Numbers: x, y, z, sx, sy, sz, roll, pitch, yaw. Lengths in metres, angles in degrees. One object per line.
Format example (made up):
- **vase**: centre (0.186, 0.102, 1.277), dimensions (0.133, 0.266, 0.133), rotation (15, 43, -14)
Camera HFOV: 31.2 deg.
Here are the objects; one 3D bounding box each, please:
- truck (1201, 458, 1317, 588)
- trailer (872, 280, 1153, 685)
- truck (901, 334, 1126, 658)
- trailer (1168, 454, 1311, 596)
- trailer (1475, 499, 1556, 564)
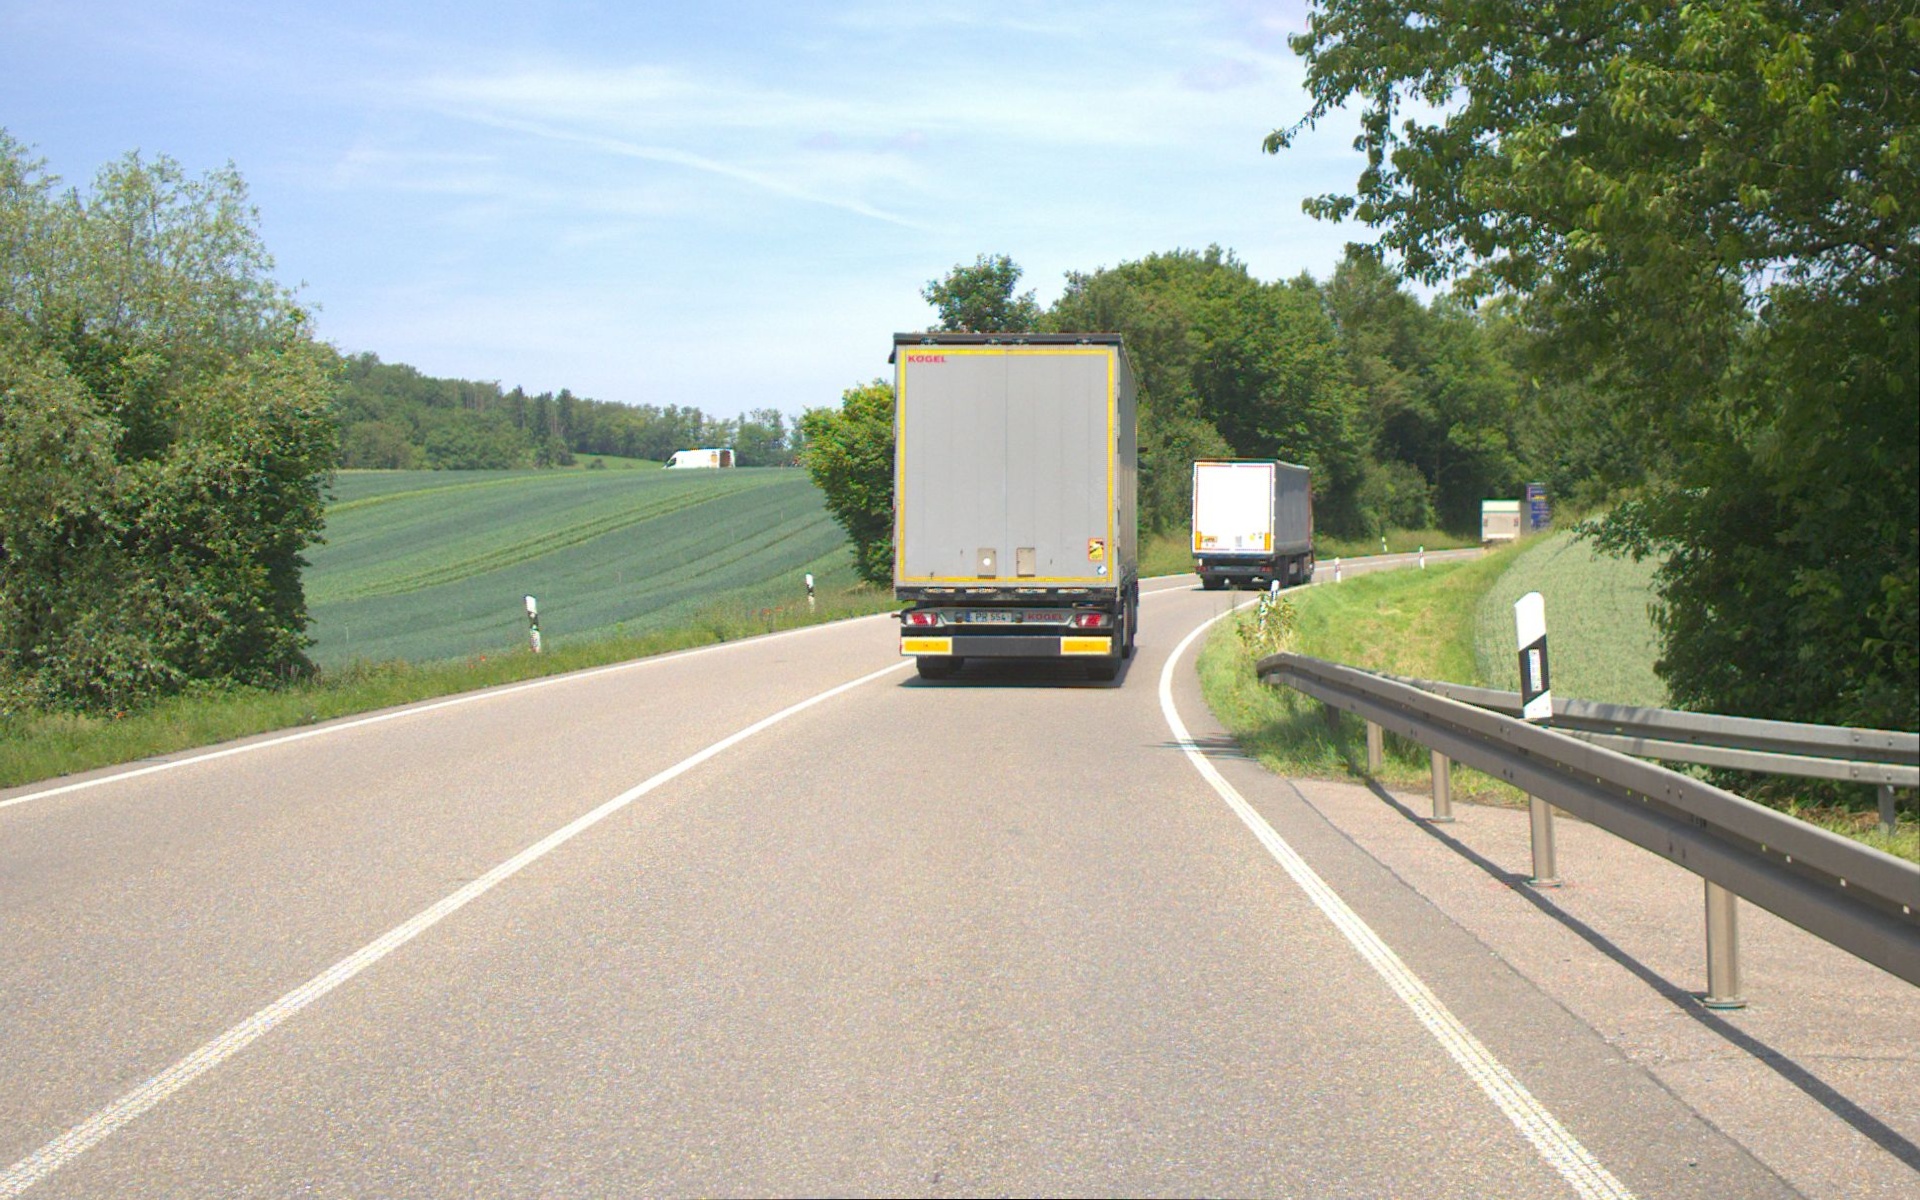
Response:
- **truck**: centre (10.322, -2.670, 118.074), dimensions (3.366, 4.302, 6.738), rotation (0, 2, 10)
- **trailer**: centre (0.697, -1.409, 45.114), dimensions (3.118, 4.484, 13.886), rotation (0, 1, 1)
- **truck**: centre (0.795, -1.493, 50.992), dimensions (3.118, 4.479, 6.811), rotation (0, 1, 1)
- **trailer**: centre (9.228, -2.451, 111.685), dimensions (3.366, 4.302, 13.859), rotation (0, 1, 10)
- **trailer**: centre (31.800, -3.847, 196.463), dimensions (2.825, 3.297, 11.507), rotation (-1, -1, 18)
